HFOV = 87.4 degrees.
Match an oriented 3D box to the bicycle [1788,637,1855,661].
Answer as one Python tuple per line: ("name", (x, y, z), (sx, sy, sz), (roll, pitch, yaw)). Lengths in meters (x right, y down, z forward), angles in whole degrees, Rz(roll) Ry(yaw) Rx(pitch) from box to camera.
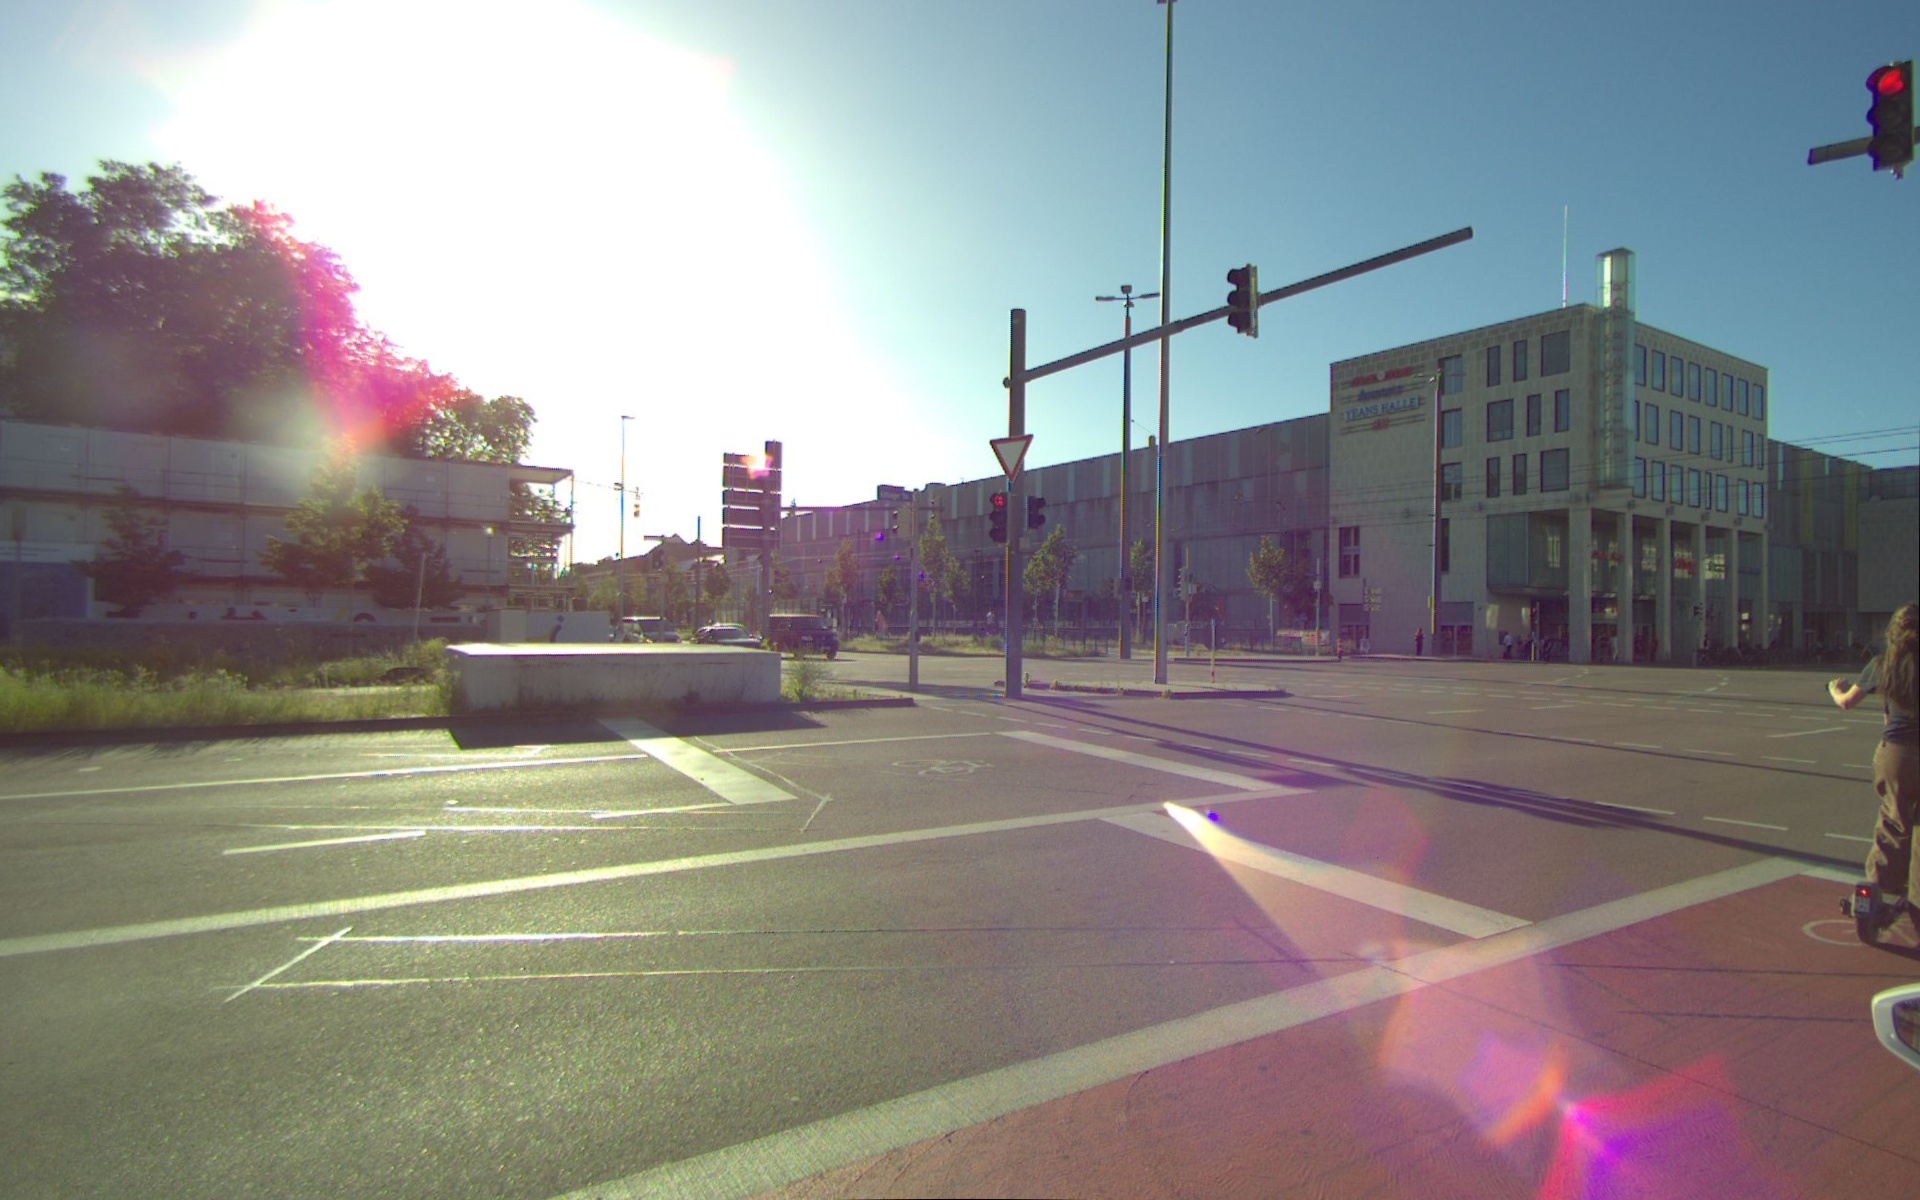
("bicycle", (60.386, 3.429, 70.473), (0.979, 1.547, 3.462), (2, -2, -40))

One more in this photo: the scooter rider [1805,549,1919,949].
("scooter rider", (4.638, 0.679, 4.772), (0.801, 1.798, 0.725), (1, -1, -30))

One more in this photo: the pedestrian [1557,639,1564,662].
("pedestrian", (38.591, 3.234, 64.514), (0.381, 1.431, 0.437), (0, -1, 32))

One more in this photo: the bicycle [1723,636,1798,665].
("bicycle", (49.149, 3.076, 61.741), (1.107, 1.719, 3.465), (1, -2, -38))

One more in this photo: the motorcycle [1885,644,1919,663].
("motorcycle", (70.751, 4.011, 75.086), (0.713, 1.335, 2.260), (1, -2, -34))

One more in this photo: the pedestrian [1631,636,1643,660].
("pedestrian", (44.266, 3.138, 65.682), (0.508, 1.606, 0.479), (1, -1, -34))

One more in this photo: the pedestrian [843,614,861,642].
("pedestrian", (-7.044, 1.825, 65.675), (0.889, 1.855, 0.787), (1, -1, -35))

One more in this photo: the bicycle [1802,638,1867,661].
("bicycle", (63.711, 3.584, 73.205), (0.979, 1.547, 3.462), (2, -2, -40))

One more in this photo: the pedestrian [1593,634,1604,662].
("pedestrian", (37.673, 2.815, 59.274), (0.533, 1.664, 0.549), (0, -1, 35))

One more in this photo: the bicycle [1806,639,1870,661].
("bicycle", (64.511, 3.640, 73.854), (0.979, 1.547, 3.462), (2, -2, -40))

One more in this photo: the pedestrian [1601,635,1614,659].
("pedestrian", (42.542, 3.092, 65.992), (0.592, 1.606, 0.479), (1, -1, -34))

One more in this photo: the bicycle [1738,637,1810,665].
("bicycle", (51.950, 3.223, 64.160), (0.979, 1.719, 3.462), (1, -2, -40))

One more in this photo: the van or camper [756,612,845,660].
("van or camper", (-7.304, 1.592, 45.617), (1.981, 2.040, 4.821), (1, -2, -36))

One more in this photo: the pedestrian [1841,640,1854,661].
("pedestrian", (71.905, 4.054, 81.369), (0.689, 1.664, 0.691), (1, -1, -39))

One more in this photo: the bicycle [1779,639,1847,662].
("bicycle", (58.879, 3.474, 69.391), (0.979, 1.547, 3.462), (2, -2, -40))

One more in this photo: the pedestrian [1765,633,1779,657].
("pedestrian", (58.301, 3.233, 72.088), (0.689, 1.664, 0.648), (1, -1, -38))

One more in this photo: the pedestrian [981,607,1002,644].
("pedestrian", (1.589, 1.301, 50.596), (0.788, 1.855, 0.706), (1, -1, -37))

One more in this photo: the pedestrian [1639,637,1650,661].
("pedestrian", (44.971, 3.213, 65.995), (0.508, 1.530, 0.479), (1, -1, -34))

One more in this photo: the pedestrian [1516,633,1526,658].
("pedestrian", (36.466, 2.946, 65.320), (0.453, 1.586, 0.418), (1, -1, -39))

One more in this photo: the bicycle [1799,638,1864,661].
("bicycle", (62.671, 3.519, 72.255), (0.979, 1.547, 3.462), (2, -2, -40))

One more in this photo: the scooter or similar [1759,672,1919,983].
("scooter or similar", (4.551, 0.978, 4.706), (1.645, 1.218, 0.725), (1, -1, -30))

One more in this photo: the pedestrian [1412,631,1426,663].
("pedestrian", (24.423, 2.487, 53.430), (0.543, 1.716, 0.521), (1, -1, -40))

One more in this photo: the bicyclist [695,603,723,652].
("bicyclist", (-13.940, 1.533, 55.783), (1.007, 2.677, 1.610), (1, -1, -34))

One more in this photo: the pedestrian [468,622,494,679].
("pedestrian", (-14.428, 1.511, 30.229), (0.619, 1.674, 0.935), (1, -1, -30))

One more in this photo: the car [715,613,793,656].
("car", (-10.386, 1.695, 50.420), (1.981, 2.040, 4.821), (1, -2, -36))

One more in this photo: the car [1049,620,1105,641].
("car", (9.371, 2.451, 80.842), (1.981, 1.628, 4.435), (1, -2, -36))

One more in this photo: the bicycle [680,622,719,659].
("bicycle", (-14.810, 2.267, 57.027), (1.007, 2.040, 3.472), (1, -2, -33))

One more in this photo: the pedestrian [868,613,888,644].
("pedestrian", (-4.911, 1.701, 60.308), (0.889, 1.855, 0.787), (1, -1, -35))

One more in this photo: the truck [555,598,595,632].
("truck", (-33.474, 1.323, 87.253), (1.979, 2.875, 6.293), (1, -2, -33))

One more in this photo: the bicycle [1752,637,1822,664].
("bicycle", (54.510, 3.316, 66.255), (0.979, 1.719, 3.462), (1, -2, -40))

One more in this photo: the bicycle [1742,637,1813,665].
("bicycle", (52.864, 3.255, 64.965), (0.979, 1.719, 3.462), (1, -2, -40))

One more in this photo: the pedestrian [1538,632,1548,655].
("pedestrian", (37.500, 2.778, 64.625), (0.499, 1.445, 0.383), (1, -1, -40))

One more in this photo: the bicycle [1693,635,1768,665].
("bicycle", (46.608, 2.997, 60.821), (1.107, 1.719, 3.465), (1, -2, -38))

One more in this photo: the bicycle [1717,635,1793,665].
("bicycle", (48.220, 3.009, 60.940), (1.107, 1.719, 3.465), (1, -2, -38))

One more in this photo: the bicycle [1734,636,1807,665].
("bicycle", (51.124, 3.186, 63.426), (0.979, 1.719, 3.462), (1, -2, -40))

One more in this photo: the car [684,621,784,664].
("car", (-9.393, 1.704, 41.515), (2.313, 1.671, 4.821), (1, -2, -37))

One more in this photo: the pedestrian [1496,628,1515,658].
("pedestrian", (32.957, 2.596, 60.674), (0.729, 1.822, 0.752), (1, -1, -34))

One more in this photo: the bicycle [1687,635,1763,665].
("bicycle", (45.704, 2.973, 60.035), (1.107, 1.719, 3.465), (1, -2, -38))

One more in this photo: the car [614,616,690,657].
("car", (-14.803, 1.703, 48.116), (1.981, 1.849, 4.821), (1, -2, -36))

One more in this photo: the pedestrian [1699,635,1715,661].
("pedestrian", (49.396, 3.171, 66.413), (0.773, 1.664, 0.693), (0, -1, 32))

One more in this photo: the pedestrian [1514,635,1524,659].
("pedestrian", (36.479, 3.054, 65.567), (0.452, 1.586, 0.420), (1, -1, -30))

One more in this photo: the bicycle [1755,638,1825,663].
("bicycle", (55.261, 3.325, 66.923), (0.979, 1.547, 3.462), (2, -2, -40))

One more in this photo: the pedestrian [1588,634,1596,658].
("pedestrian", (42.385, 3.088, 67.356), (0.363, 1.606, 0.384), (1, -1, -34))

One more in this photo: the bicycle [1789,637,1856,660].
("bicycle", (61.193, 3.446, 71.305), (0.979, 1.547, 3.462), (2, -2, -40))
